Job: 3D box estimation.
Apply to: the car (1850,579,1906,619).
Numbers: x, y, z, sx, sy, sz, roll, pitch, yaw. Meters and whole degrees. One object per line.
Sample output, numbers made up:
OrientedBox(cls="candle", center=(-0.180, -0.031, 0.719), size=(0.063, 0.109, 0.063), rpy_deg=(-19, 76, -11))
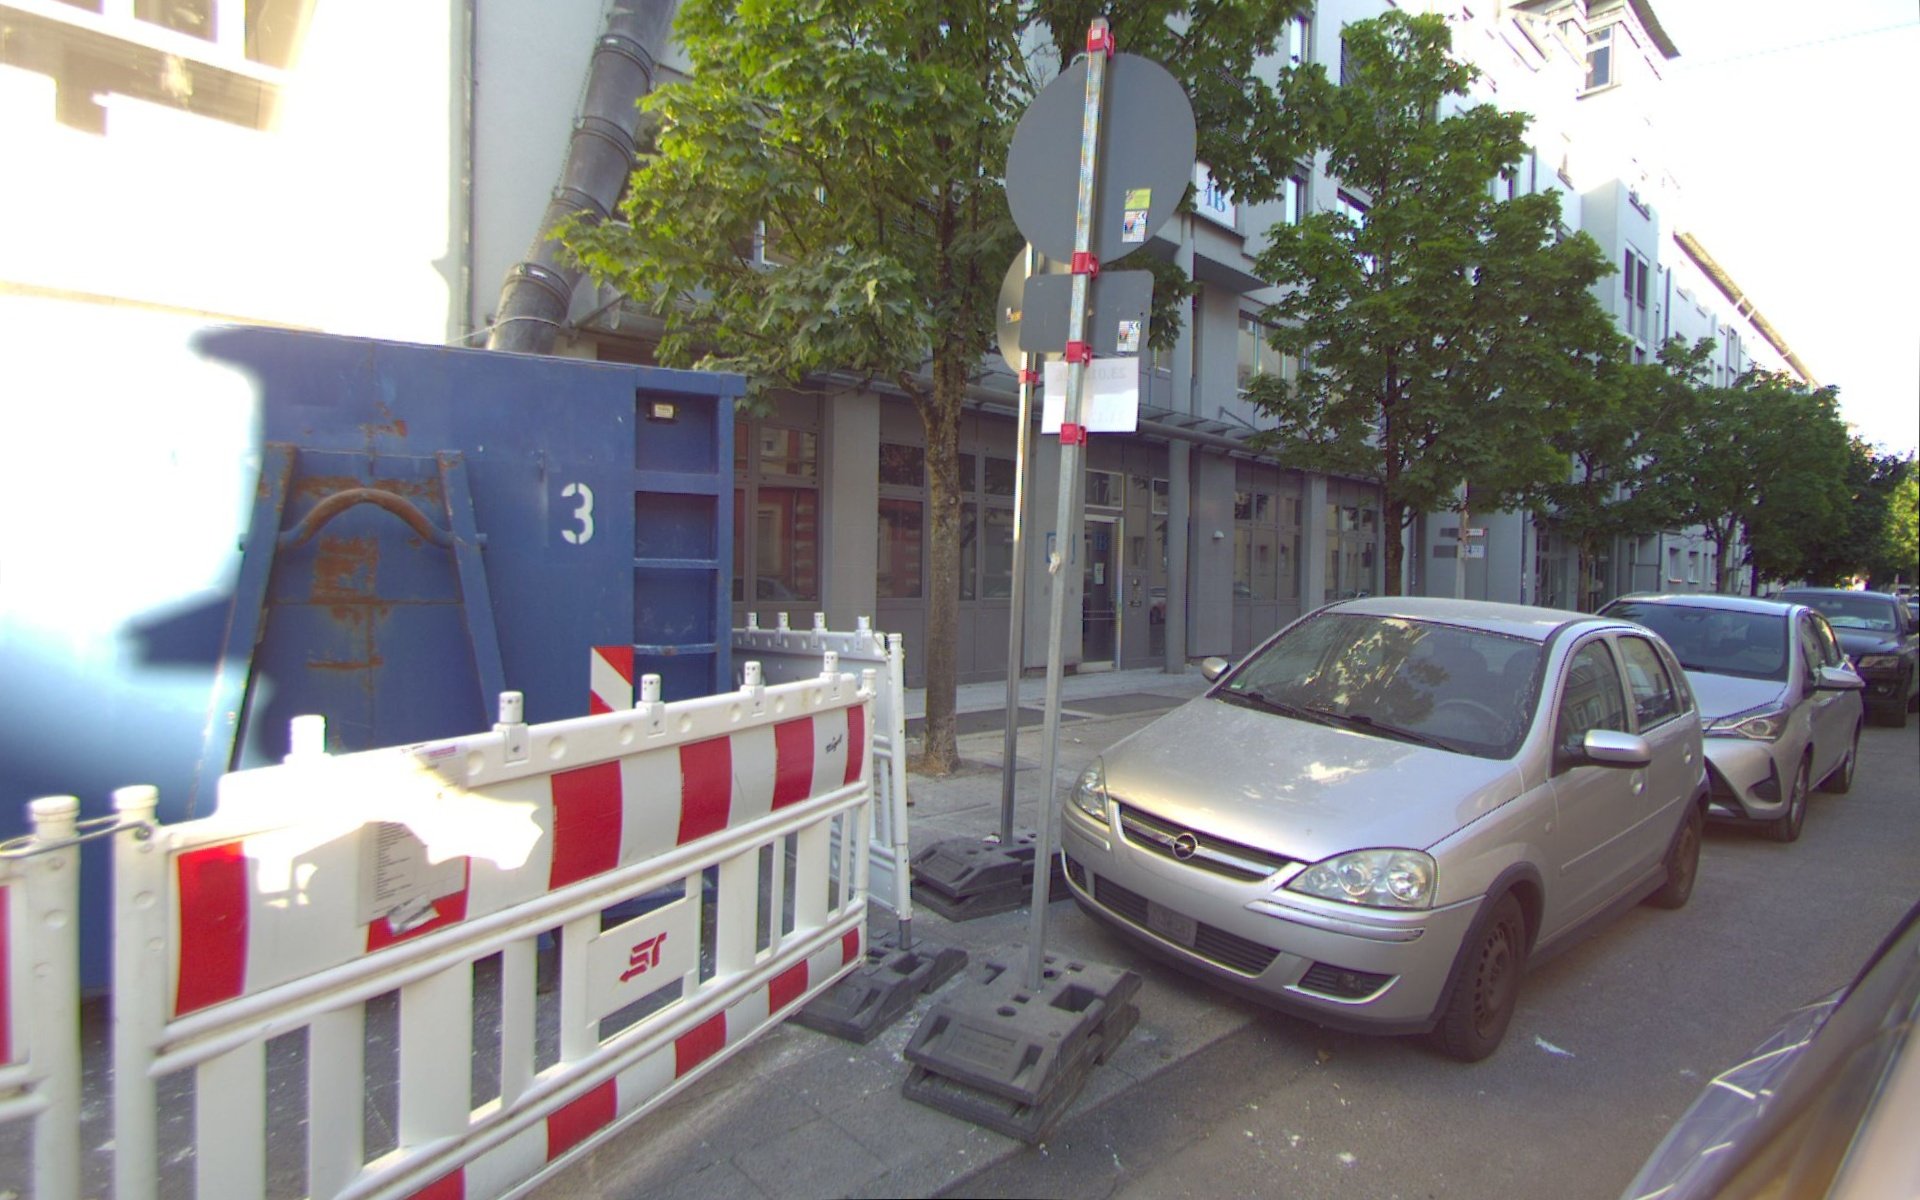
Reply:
OrientedBox(cls="car", center=(48.661, -0.083, 53.616), size=(3.935, 2.039, 1.995), rpy_deg=(0, 1, -45))

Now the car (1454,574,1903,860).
OrientedBox(cls="car", center=(5.596, 0.631, 7.708), size=(3.930, 1.605, 1.911), rpy_deg=(0, 1, -41))

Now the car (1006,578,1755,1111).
OrientedBox(cls="car", center=(2.220, 0.652, 4.731), size=(3.995, 1.465, 1.637), rpy_deg=(0, 1, -41))

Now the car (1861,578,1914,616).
OrientedBox(cls="car", center=(51.907, -0.178, 56.608), size=(3.935, 2.039, 1.995), rpy_deg=(0, 1, -45))

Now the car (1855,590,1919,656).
OrientedBox(cls="car", center=(23.417, 0.511, 24.884), size=(3.935, 1.507, 1.852), rpy_deg=(0, 1, -45))

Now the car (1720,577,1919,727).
OrientedBox(cls="car", center=(11.971, 0.567, 13.726), size=(4.315, 1.710, 1.861), rpy_deg=(0, 1, -42))

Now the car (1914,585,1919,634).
OrientedBox(cls="car", center=(35.229, 0.325, 35.983), size=(1.851, 1.680, 3.936), rpy_deg=(1, 1, 44))

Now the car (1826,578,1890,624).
OrientedBox(cls="car", center=(41.885, 0.016, 47.183), size=(3.935, 2.039, 1.995), rpy_deg=(0, 1, -45))

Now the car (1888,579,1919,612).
OrientedBox(cls="car", center=(61.131, -0.309, 65.061), size=(3.935, 2.039, 1.995), rpy_deg=(0, 1, -45))
